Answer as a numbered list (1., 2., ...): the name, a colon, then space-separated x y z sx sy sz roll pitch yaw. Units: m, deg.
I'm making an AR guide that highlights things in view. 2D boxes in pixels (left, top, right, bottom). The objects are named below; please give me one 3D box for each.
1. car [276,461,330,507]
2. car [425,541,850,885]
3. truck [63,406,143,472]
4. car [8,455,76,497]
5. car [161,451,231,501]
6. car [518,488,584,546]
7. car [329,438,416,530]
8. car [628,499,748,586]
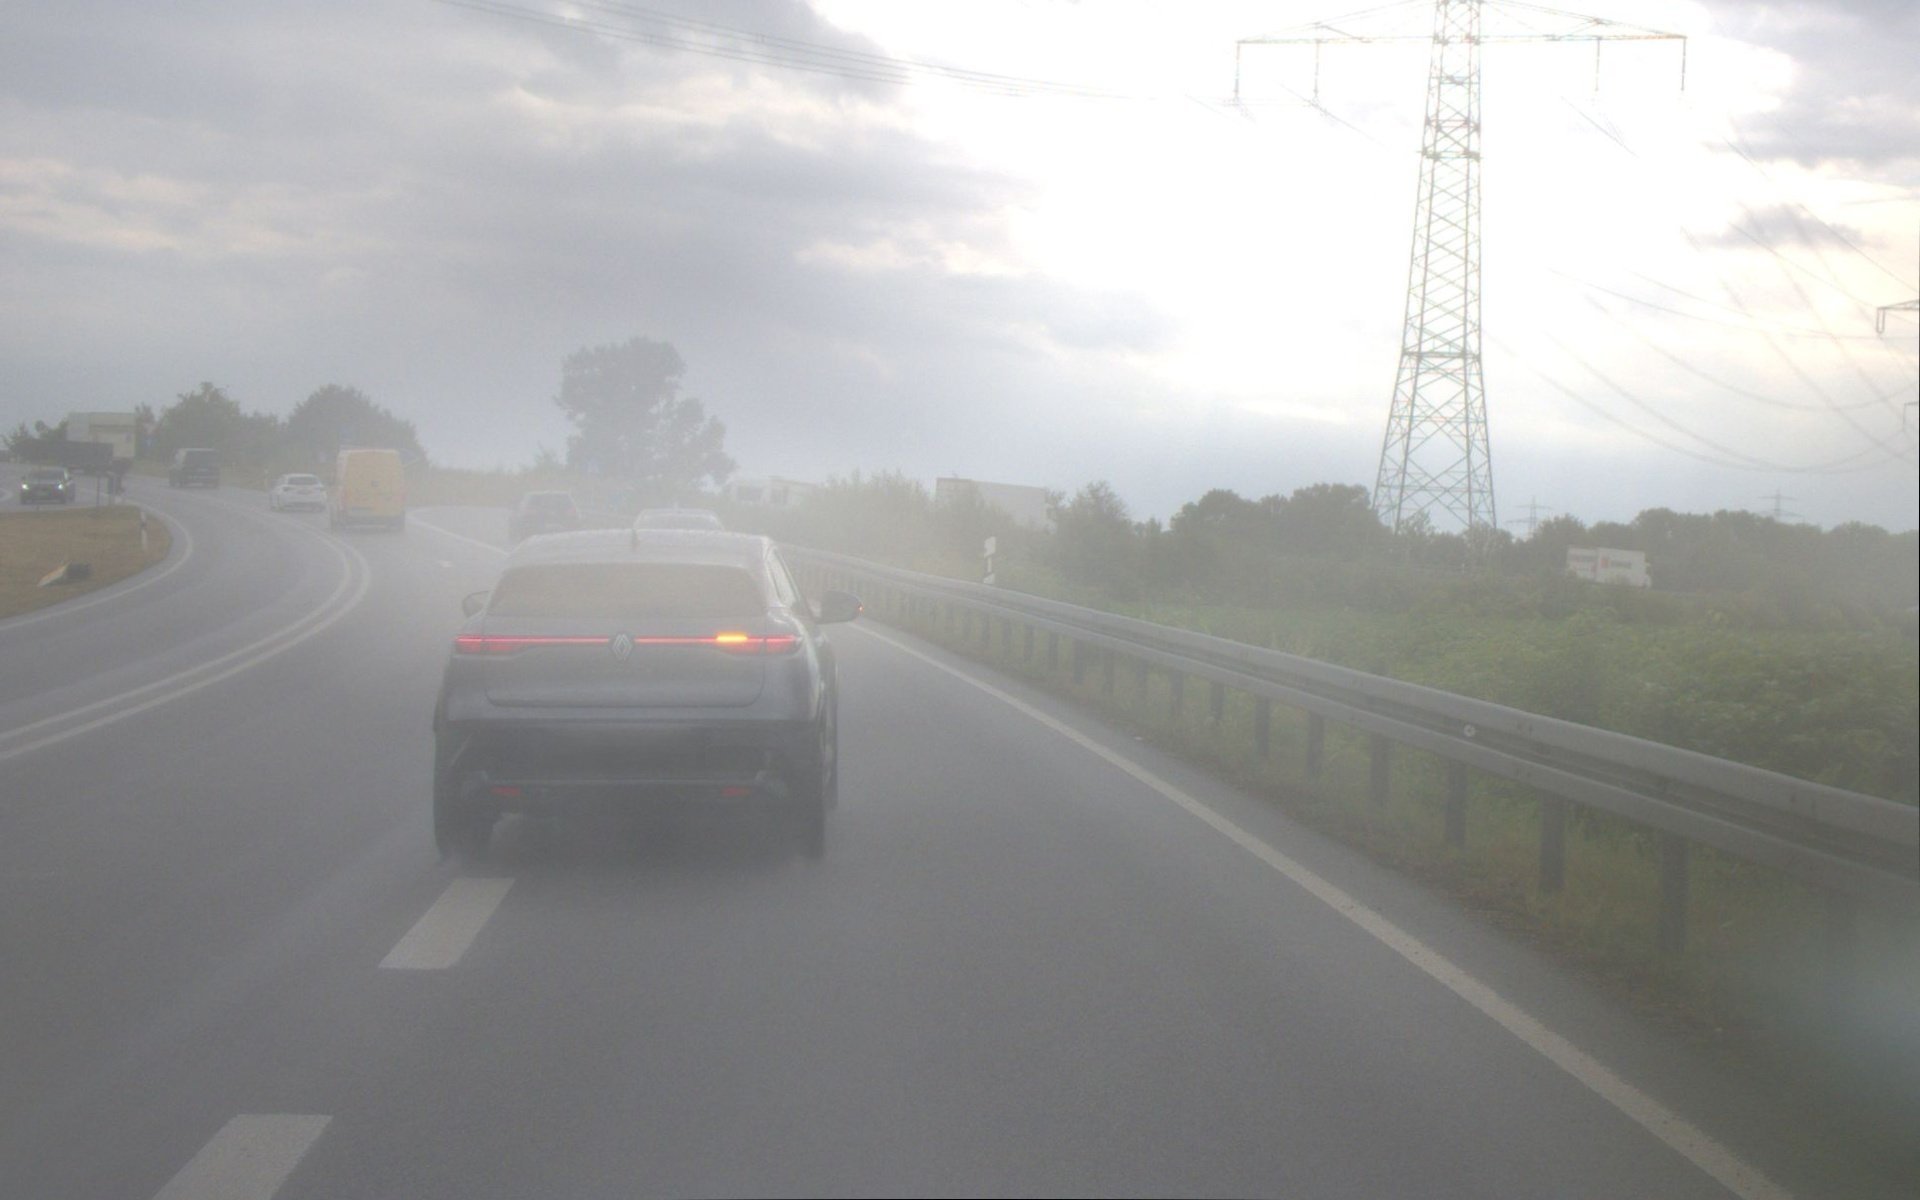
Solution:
1. car: -25.050 -4.438 130.995 1.791 1.682 4.002 1 2 -14
2. car: -1.483 0.449 16.621 1.791 1.436 4.001 1 1 -3
3. truck: -48.353 -9.034 193.864 3.045 3.373 7.646 1 0 -24
4. car: -37.230 -5.050 139.509 1.981 1.598 3.917 2 2 -6
5. car: -37.684 -6.095 169.500 2.601 2.243 5.536 1 0 -21
6. car: -11.591 -2.330 97.325 1.791 1.536 4.001 1 0 -7
7. car: -18.629 -3.619 108.777 2.572 2.716 7.198 1 1 -11
8. car: -4.725 -1.012 59.300 1.791 1.436 4.001 -1 2 -8
